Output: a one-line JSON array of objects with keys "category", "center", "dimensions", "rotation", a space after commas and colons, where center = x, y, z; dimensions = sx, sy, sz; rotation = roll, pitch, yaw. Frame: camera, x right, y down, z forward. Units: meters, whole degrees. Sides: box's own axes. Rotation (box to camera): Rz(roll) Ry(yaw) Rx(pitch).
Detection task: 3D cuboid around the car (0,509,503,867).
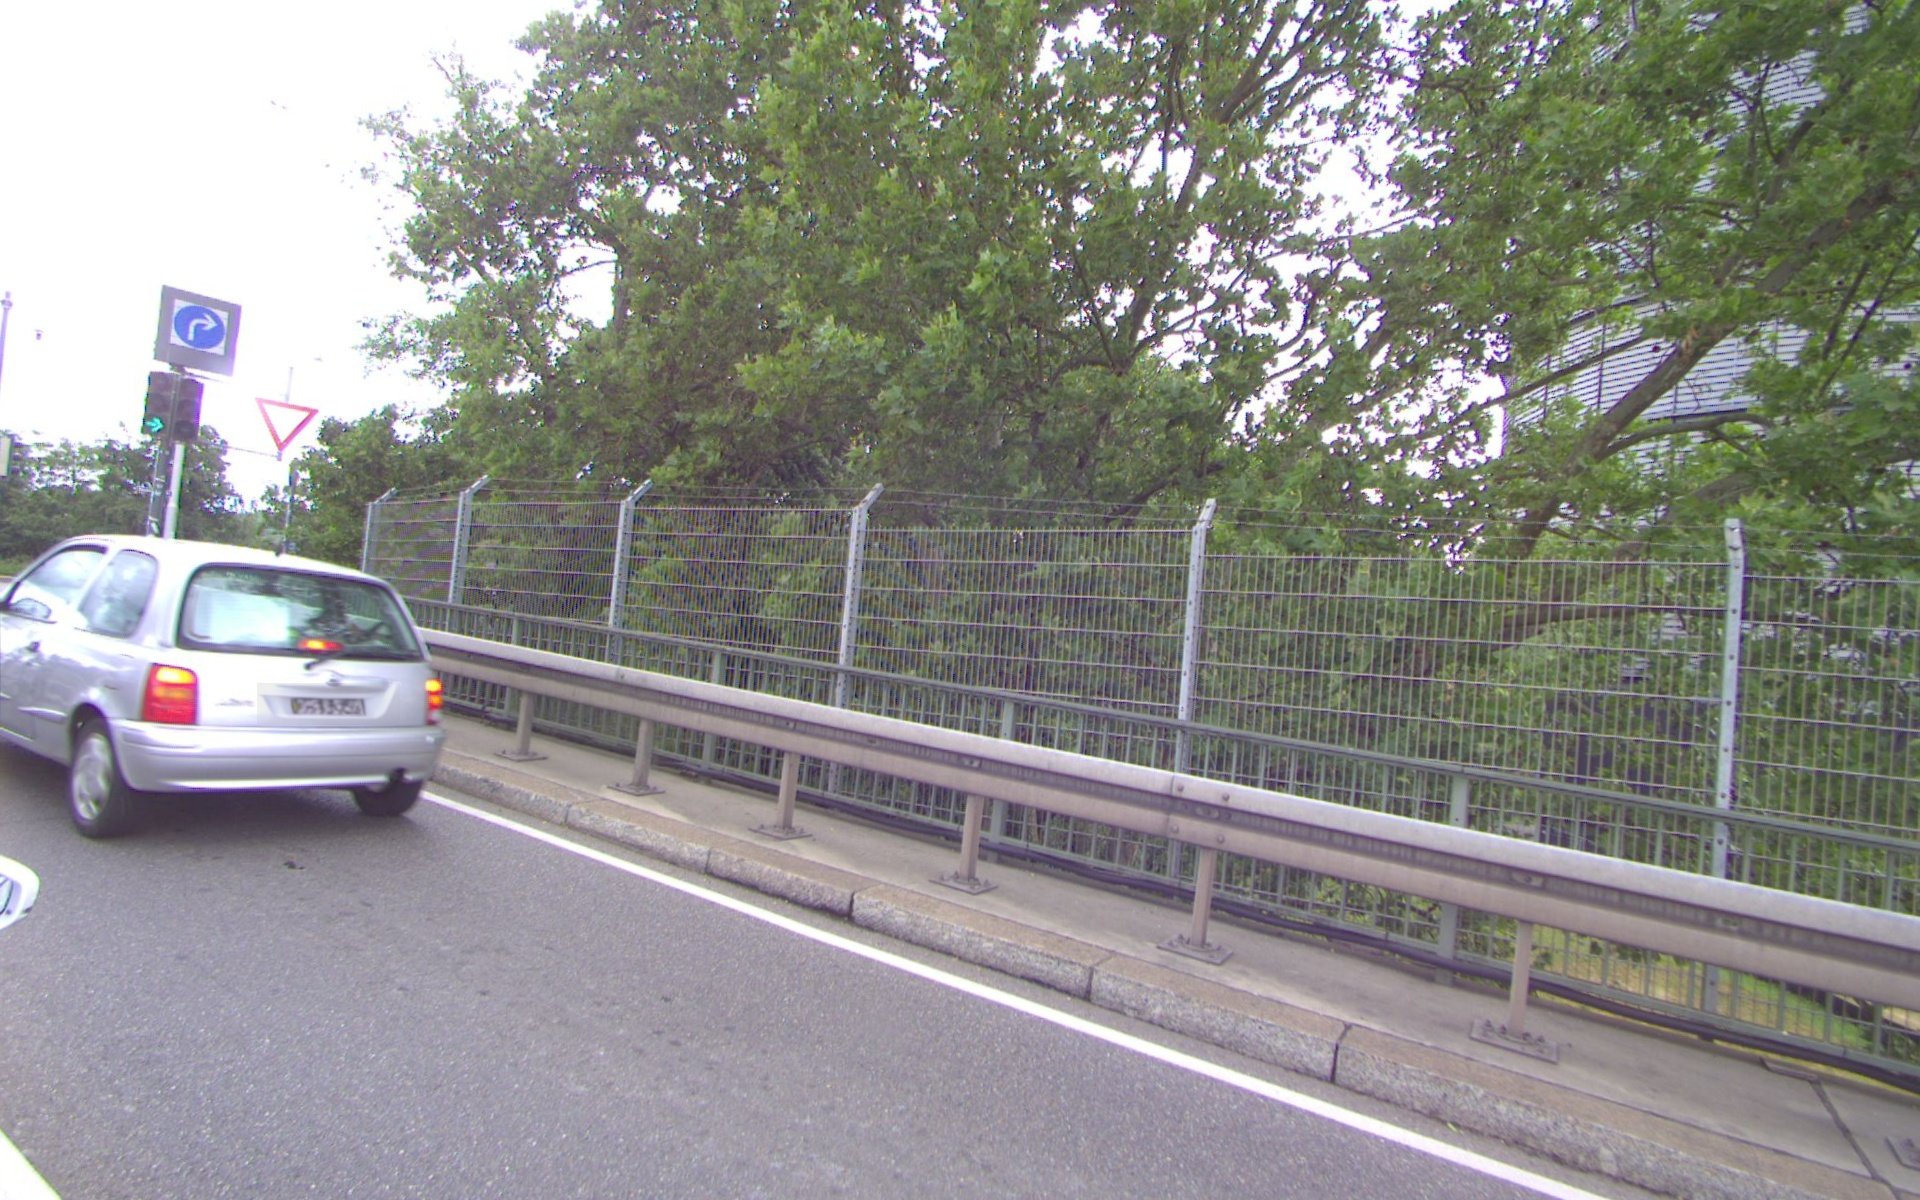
[{"category": "car", "center": [-4.513, 0.340, 5.884], "dimensions": [3.385, 1.448, 1.588], "rotation": [6, -1, 31]}]
